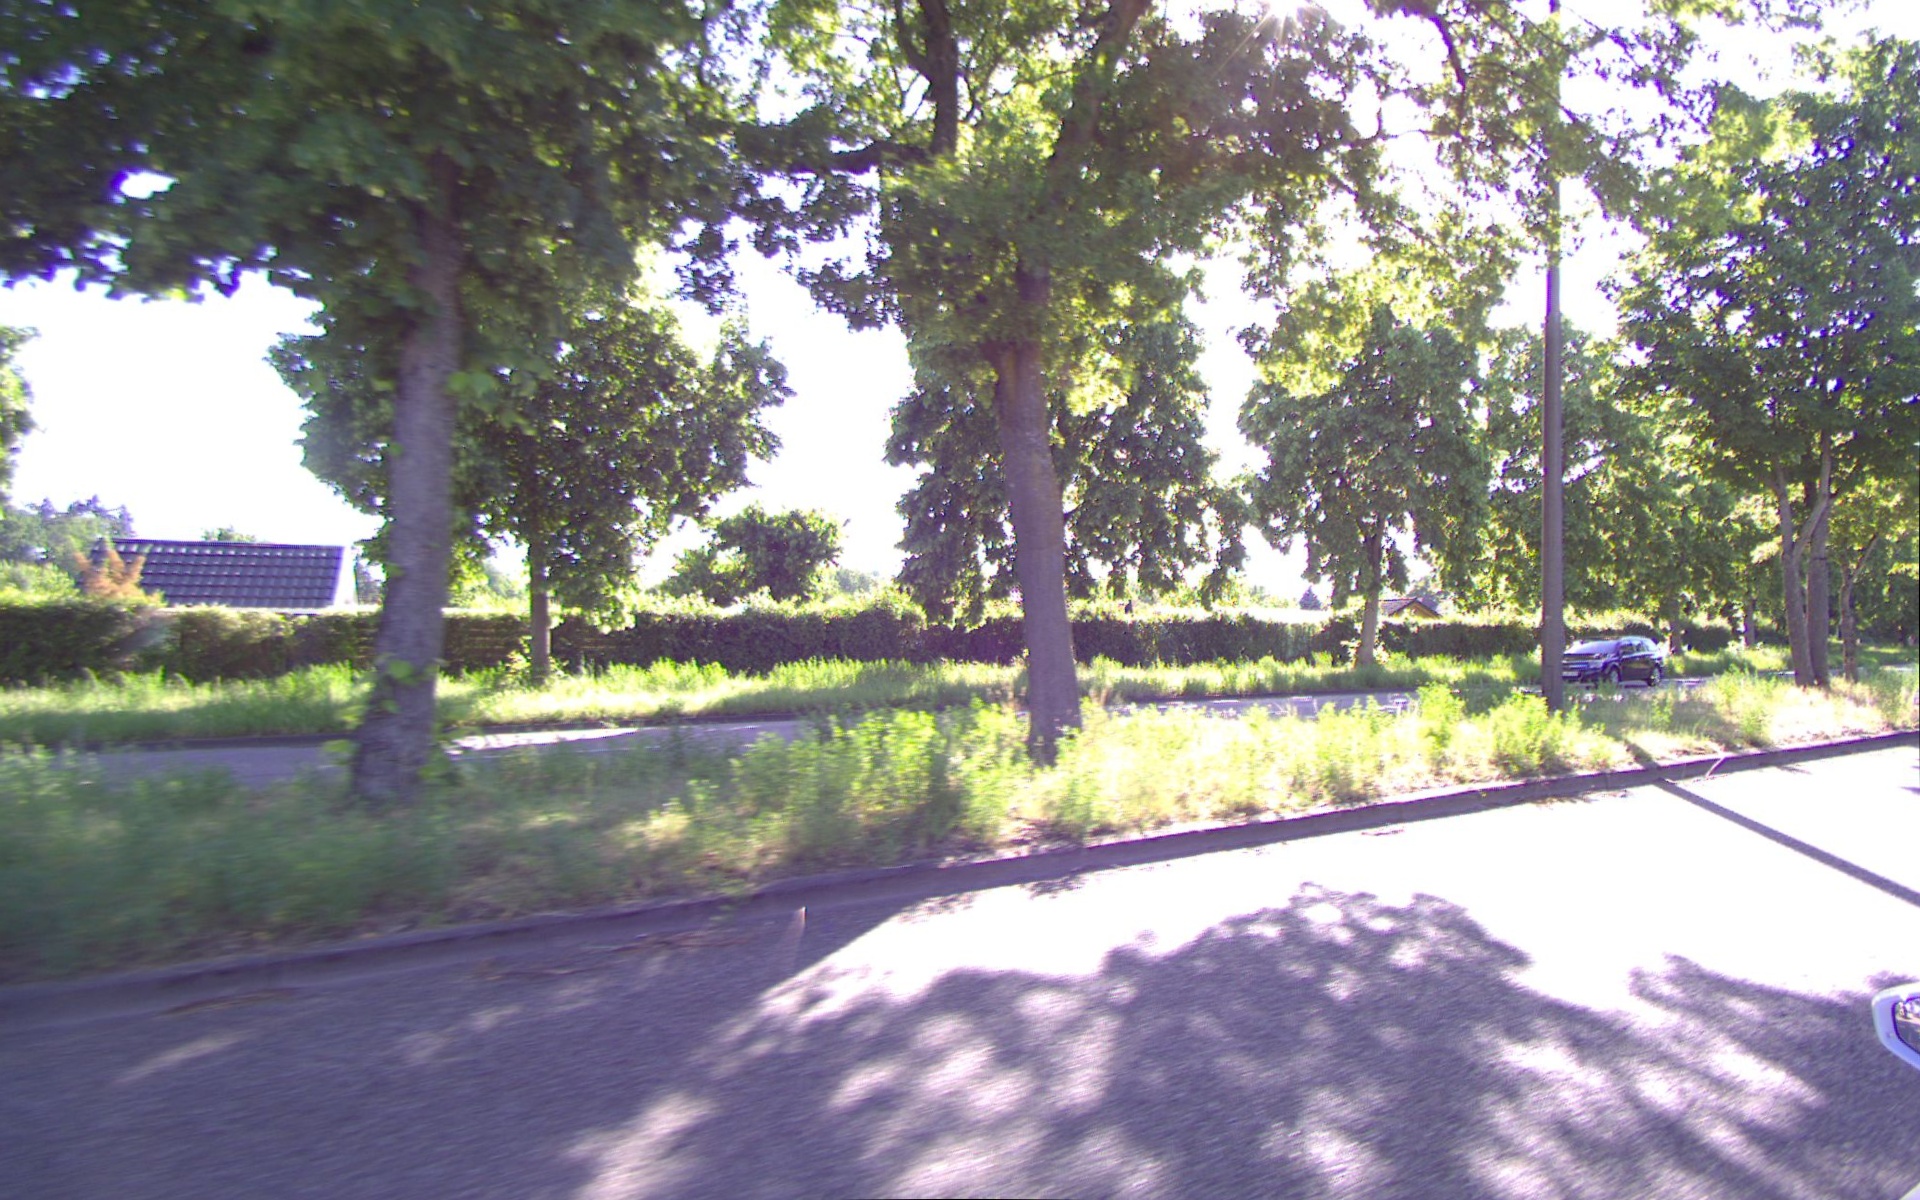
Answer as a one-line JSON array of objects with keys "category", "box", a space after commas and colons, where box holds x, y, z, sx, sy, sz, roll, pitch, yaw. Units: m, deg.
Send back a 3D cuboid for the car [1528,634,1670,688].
[{"category": "car", "box": [18.590, 1.742, 29.128, 4.890, 1.455, 1.682, 1, -3, -35]}]
